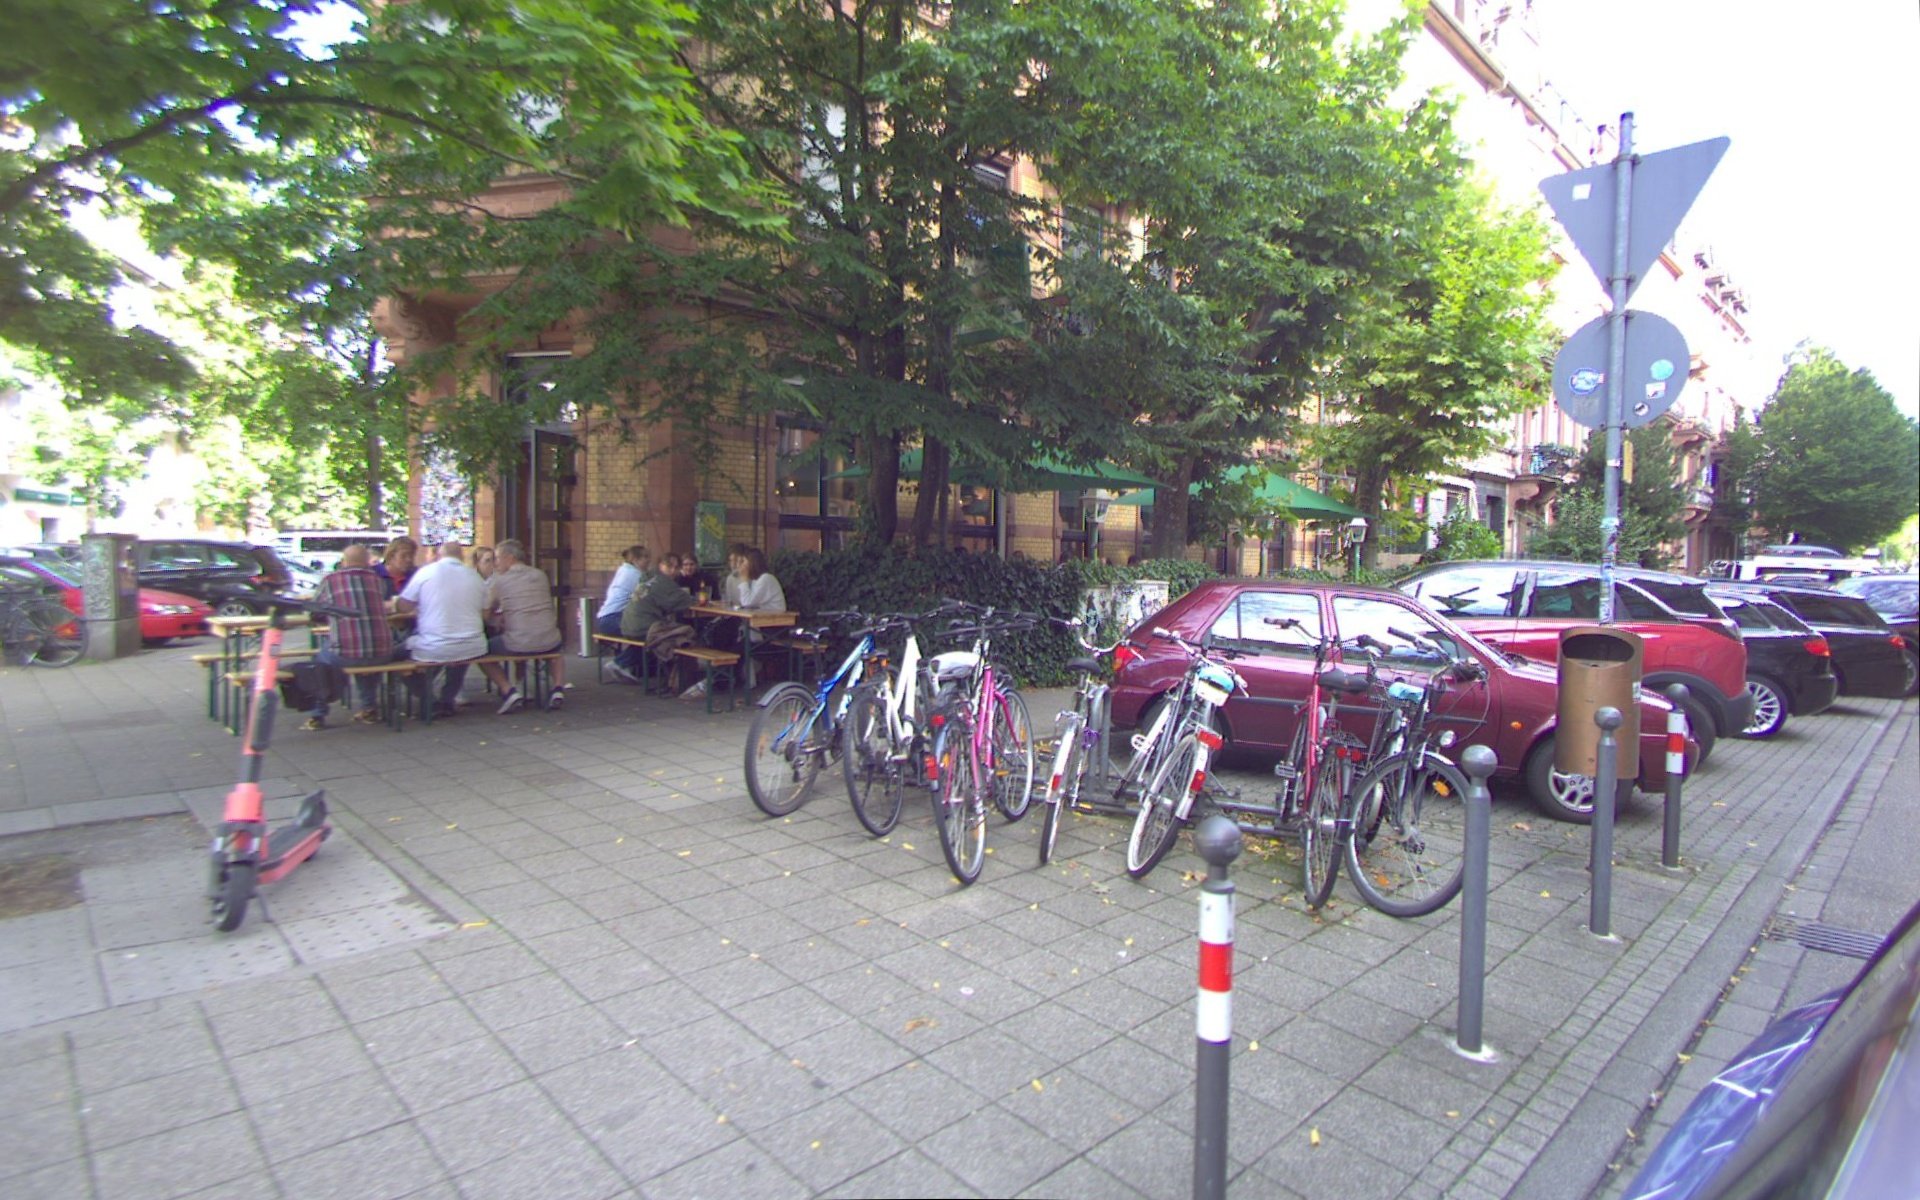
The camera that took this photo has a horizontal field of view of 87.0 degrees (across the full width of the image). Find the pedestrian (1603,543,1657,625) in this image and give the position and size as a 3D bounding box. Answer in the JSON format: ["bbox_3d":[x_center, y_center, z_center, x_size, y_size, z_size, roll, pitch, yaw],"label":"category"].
[{"bbox_3d":[15.822,-0.390,23.911,0.710,1.901,0.841,0,2,-39],"label":"pedestrian"}]

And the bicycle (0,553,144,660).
[{"bbox_3d":[-10.260,0.070,11.259,1.812,1.148,0.428,1,3,-14],"label":"bicycle"}]

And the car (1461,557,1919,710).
[{"bbox_3d":[9.114,0.336,12.736,4.708,1.474,2.045,4,2,19],"label":"car"}]

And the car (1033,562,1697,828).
[{"bbox_3d":[2.632,0.494,7.275,3.893,1.475,1.760,2,2,19],"label":"car"}]

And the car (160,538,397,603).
[{"bbox_3d":[-16.022,-0.700,24.091,4.333,1.433,2.005,0,2,-20],"label":"car"}]

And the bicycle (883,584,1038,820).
[{"bbox_3d":[0.061,0.495,5.920,0.349,1.086,1.789,4,4,16],"label":"bicycle"}]

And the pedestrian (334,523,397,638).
[{"bbox_3d":[-8.439,-0.279,14.388,0.629,1.583,0.702,0,2,-17],"label":"pedestrian"}]

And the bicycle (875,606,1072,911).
[{"bbox_3d":[0.146,0.627,4.904,0.384,1.052,1.911,4,4,16],"label":"bicycle"}]

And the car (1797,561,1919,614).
[{"bbox_3d":[35.260,-0.481,38.882,4.341,1.844,1.748,3,3,15],"label":"car"}]

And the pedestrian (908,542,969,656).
[{"bbox_3d":[-0.308,-0.029,14.465,0.628,1.589,0.561,3,2,42],"label":"pedestrian"}]

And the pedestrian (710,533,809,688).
[{"bbox_3d":[-1.862,0.074,9.402,0.669,1.368,0.619,2,2,42],"label":"pedestrian"}]

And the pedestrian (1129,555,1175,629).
[{"bbox_3d":[3.309,-0.147,17.458,0.486,1.233,0.641,5,4,37],"label":"pedestrian"}]

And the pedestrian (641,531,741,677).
[{"bbox_3d":[-2.770,0.020,10.411,0.672,1.424,0.747,2,2,42],"label":"pedestrian"}]

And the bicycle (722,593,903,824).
[{"bbox_3d":[-0.755,0.512,5.530,0.445,1.053,1.379,1,2,16],"label":"bicycle"}]

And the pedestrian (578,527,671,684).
[{"bbox_3d":[-3.186,0.032,9.623,0.572,1.424,0.628,2,2,39],"label":"pedestrian"}]

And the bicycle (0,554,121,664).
[{"bbox_3d":[-10.160,0.079,10.760,1.812,1.144,0.569,-1,2,-14],"label":"bicycle"}]

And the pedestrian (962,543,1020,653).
[{"bbox_3d":[0.463,-0.051,15.072,0.628,1.589,0.561,3,2,42],"label":"pedestrian"}]

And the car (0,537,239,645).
[{"bbox_3d":[-12.692,-0.154,14.082,3.916,1.404,2.005,0,2,-19],"label":"car"}]

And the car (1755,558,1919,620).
[{"bbox_3d":[31.094,-0.409,35.618,1.780,1.806,4.642,2,3,-44],"label":"car"}]

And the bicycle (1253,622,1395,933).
[{"bbox_3d":[1.706,0.721,4.910,0.455,1.052,1.848,4,4,16],"label":"bicycle"}]

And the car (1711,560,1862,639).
[{"bbox_3d":[20.274,-0.036,24.930,2.439,1.687,1.338,5,2,20],"label":"car"}]

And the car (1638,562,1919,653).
[{"bbox_3d":[16.848,0.111,20.770,4.393,1.495,1.886,4,2,7],"label":"car"}]

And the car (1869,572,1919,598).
[{"bbox_3d":[62.327,-0.921,65.511,4.739,1.562,1.863,3,4,15],"label":"car"}]

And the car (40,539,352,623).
[{"bbox_3d":[-14.258,-0.362,19.240,4.333,1.449,2.005,0,2,-20],"label":"car"}]

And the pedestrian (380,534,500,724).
[{"bbox_3d":[-3.955,0.190,7.696,0.756,1.359,0.588,3,2,42],"label":"pedestrian"}]

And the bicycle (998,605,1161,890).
[{"bbox_3d":[0.676,0.624,5.180,0.439,1.052,1.897,4,4,16],"label":"bicycle"}]

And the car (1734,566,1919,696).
[{"bbox_3d":[13.672,0.365,14.526,4.294,1.674,1.880,0,1,-16],"label":"car"}]

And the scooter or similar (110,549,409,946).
[{"bbox_3d":[-2.650,0.456,3.977,0.651,1.290,1.252,0,2,-19],"label":"scooter or similar"}]

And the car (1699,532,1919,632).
[{"bbox_3d":[22.864,-0.499,26.610,5.083,2.434,1.911,2,2,14],"label":"car"}]

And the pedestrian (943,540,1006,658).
[{"bbox_3d":[0.199,-0.031,13.977,0.628,1.589,0.561,3,2,42],"label":"pedestrian"}]

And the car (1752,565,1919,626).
[{"bbox_3d":[26.957,-0.146,30.479,4.388,1.754,1.993,1,1,12],"label":"car"}]

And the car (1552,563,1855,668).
[{"bbox_3d":[12.438,0.204,17.163,3.658,1.503,1.738,3,2,9],"label":"car"}]

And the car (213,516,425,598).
[{"bbox_3d":[-16.544,-1.090,26.387,4.333,1.973,2.005,0,2,-20],"label":"car"}]

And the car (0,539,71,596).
[{"bbox_3d":[-29.274,-0.991,30.155,1.991,1.682,3.943,3,3,40],"label":"car"}]

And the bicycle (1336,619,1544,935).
[{"bbox_3d":[2.198,0.702,4.851,0.542,1.052,1.848,5,4,16],"label":"bicycle"}]

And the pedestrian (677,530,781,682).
[{"bbox_3d":[-2.280,0.041,9.985,0.672,1.424,0.747,2,2,42],"label":"pedestrian"}]

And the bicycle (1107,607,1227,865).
[{"bbox_3d":[1.178,0.632,5.542,0.343,1.052,1.846,5,4,19],"label":"bicycle"}]

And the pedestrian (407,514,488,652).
[{"bbox_3d":[-6.088,-0.213,12.045,0.612,1.583,0.670,1,2,3],"label":"pedestrian"}]

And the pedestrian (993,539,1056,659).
[{"bbox_3d":[0.928,-0.029,14.607,0.646,1.661,0.555,6,4,42],"label":"pedestrian"}]

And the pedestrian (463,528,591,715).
[{"bbox_3d":[-3.512,0.142,8.203,0.797,1.424,0.692,3,2,43],"label":"pedestrian"}]

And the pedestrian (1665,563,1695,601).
[{"bbox_3d":[29.793,-0.765,41.870,0.926,1.515,0.801,3,3,40],"label":"pedestrian"}]

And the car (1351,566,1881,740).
[{"bbox_3d":[6.510,0.418,10.755,4.364,1.475,1.929,2,2,22],"label":"car"}]

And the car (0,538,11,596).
[{"bbox_3d":[-28.378,-0.923,27.248,1.991,1.604,3.943,3,3,40],"label":"car"}]

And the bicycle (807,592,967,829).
[{"bbox_3d":[-0.354,0.524,5.571,0.332,1.052,1.449,4,4,16],"label":"bicycle"}]

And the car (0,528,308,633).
[{"bbox_3d":[-13.502,-0.331,16.642,4.333,1.571,2.005,0,2,-20],"label":"car"}]

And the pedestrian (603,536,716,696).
[{"bbox_3d":[-2.725,0.119,9.186,0.672,1.375,0.747,2,2,42],"label":"pedestrian"}]

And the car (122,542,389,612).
[{"bbox_3d":[-14.894,-0.487,21.711,4.333,1.388,2.005,0,2,-20],"label":"car"}]

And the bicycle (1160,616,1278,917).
[{"bbox_3d":[1.342,0.684,5.044,0.343,1.052,2.007,5,4,19],"label":"bicycle"}]

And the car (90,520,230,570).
[{"bbox_3d":[-32.348,-2.160,41.013,1.988,1.859,4.065,-1,1,37],"label":"car"}]

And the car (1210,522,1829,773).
[{"bbox_3d":[4.564,0.261,8.996,4.303,1.665,1.810,4,3,21],"label":"car"}]

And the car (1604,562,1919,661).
[{"bbox_3d":[14.834,0.160,18.746,4.401,1.482,1.873,4,2,12],"label":"car"}]

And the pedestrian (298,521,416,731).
[{"bbox_3d":[-4.323,0.159,7.248,0.756,1.409,0.541,3,2,42],"label":"pedestrian"}]

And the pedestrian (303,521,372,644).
[{"bbox_3d":[-8.252,-0.231,13.437,0.623,1.583,0.702,0,2,-16],"label":"pedestrian"}]
